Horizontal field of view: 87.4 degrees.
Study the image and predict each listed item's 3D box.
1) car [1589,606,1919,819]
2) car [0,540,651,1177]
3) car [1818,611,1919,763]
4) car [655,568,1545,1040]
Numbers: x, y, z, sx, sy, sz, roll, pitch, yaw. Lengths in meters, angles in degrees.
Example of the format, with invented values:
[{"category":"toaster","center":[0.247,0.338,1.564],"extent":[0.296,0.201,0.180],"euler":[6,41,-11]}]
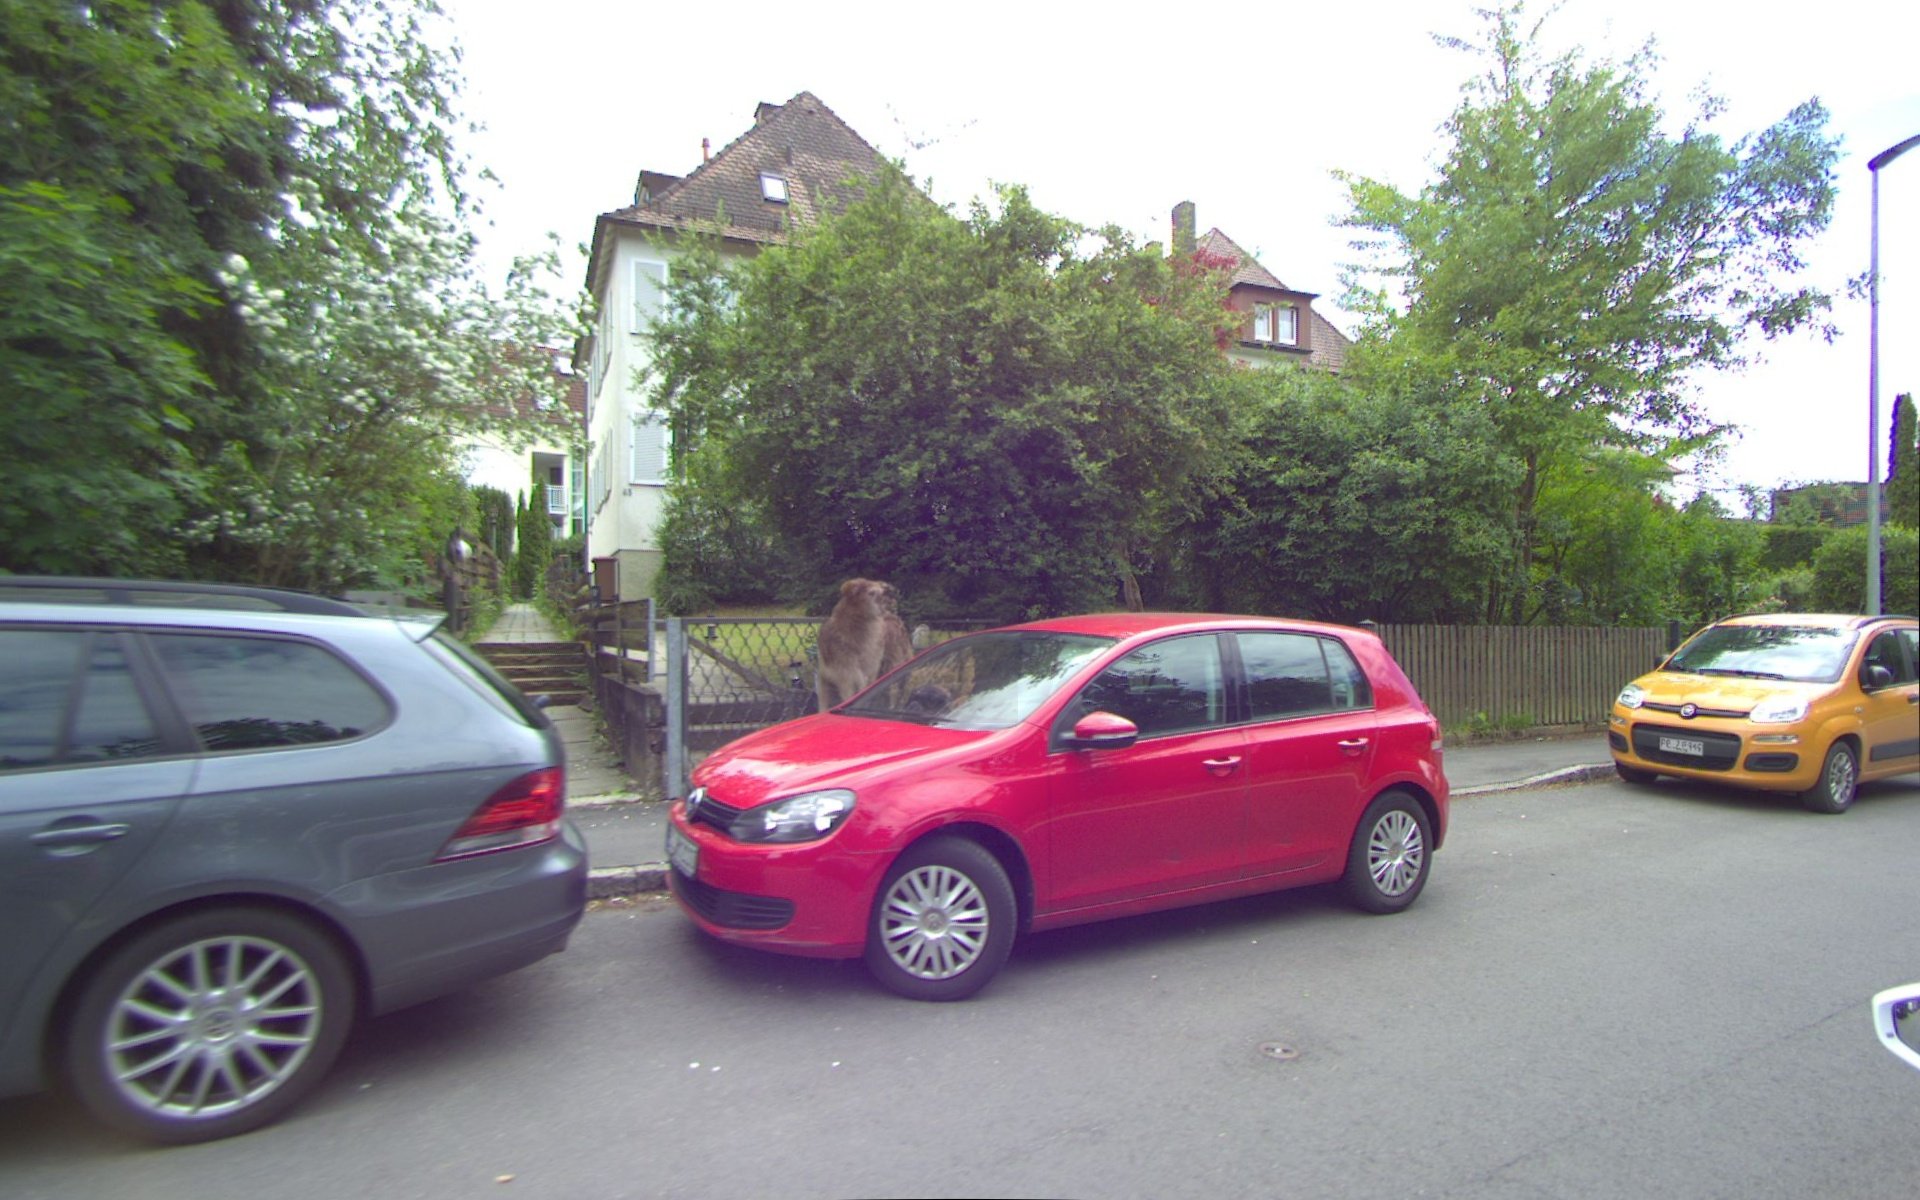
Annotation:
[{"category":"car","center":[7.387,0.866,8.902],"extent":[3.600,1.534,1.537],"euler":[1,0,-29]},{"category":"car","center":[-3.327,0.604,2.790],"extent":[4.444,1.534,1.698],"euler":[1,0,-31]},{"category":"car","center":[11.315,0.932,11.085],"extent":[3.544,1.534,1.582],"euler":[1,0,-27]},{"category":"car","center":[0.845,0.706,5.076],"extent":[4.311,1.534,1.699],"euler":[1,0,-29]}]
